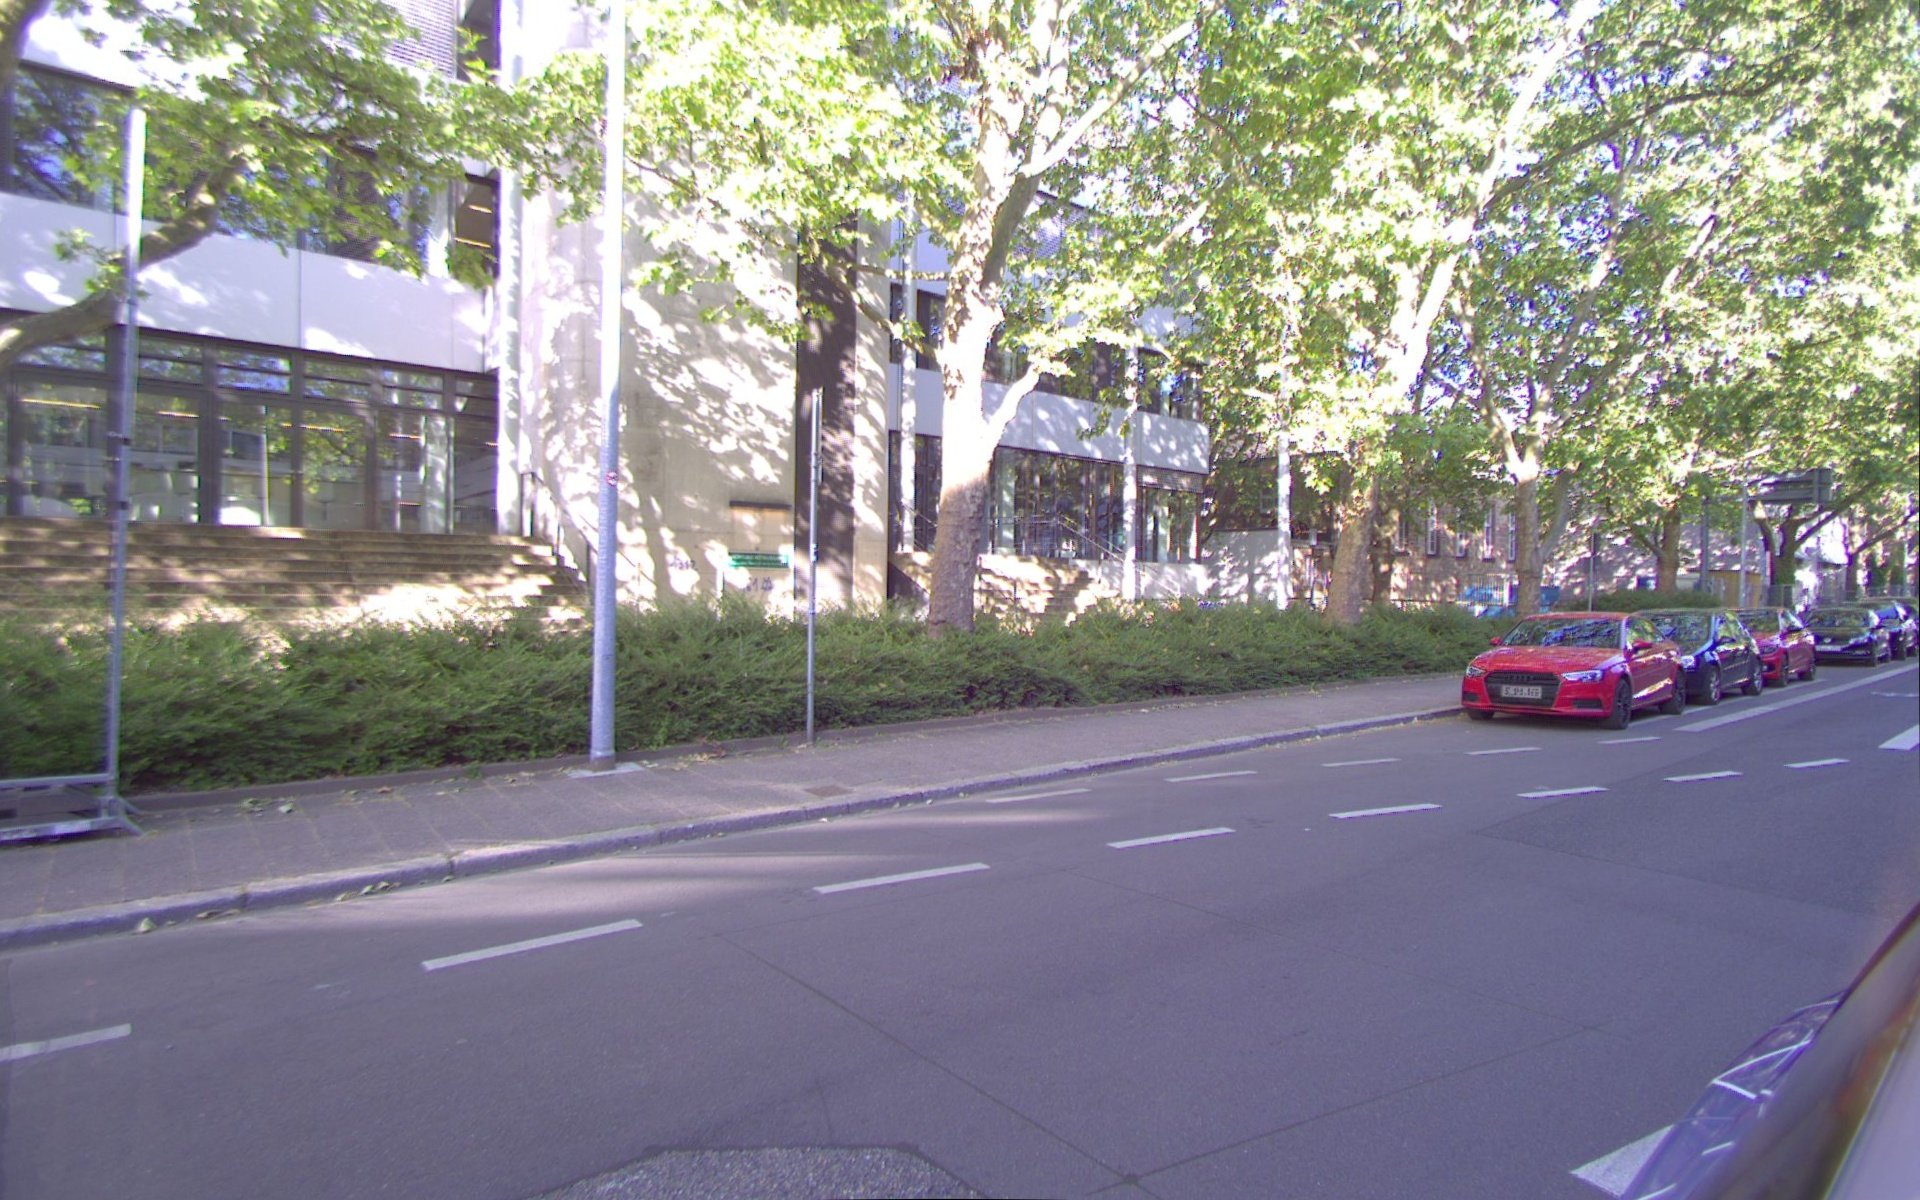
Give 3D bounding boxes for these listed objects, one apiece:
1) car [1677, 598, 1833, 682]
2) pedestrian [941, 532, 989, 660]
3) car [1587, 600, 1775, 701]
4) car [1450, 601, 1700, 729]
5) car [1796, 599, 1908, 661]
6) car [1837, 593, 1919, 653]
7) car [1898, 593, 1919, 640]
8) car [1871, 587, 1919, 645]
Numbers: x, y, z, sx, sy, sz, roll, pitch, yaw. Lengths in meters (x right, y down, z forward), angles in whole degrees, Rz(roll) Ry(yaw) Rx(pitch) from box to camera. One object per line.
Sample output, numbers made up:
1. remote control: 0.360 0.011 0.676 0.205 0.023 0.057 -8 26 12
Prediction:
1. car: 15.735 0.710 19.978 3.854 1.467 1.691 -1 0 -40
2. pedestrian: 0.086 -0.065 16.485 0.549 2.039 0.555 0 0 38
3. car: 11.847 0.732 16.551 3.632 1.436 1.668 -1 0 -40
4. car: 8.293 0.739 13.521 3.931 1.409 1.792 -1 1 -42
5. car: 22.940 0.713 25.993 3.855 1.441 1.691 -1 0 -41
6. car: 26.626 0.605 29.050 4.158 1.598 1.632 -1 0 -41
7. car: 35.527 0.573 36.790 4.497 1.633 1.632 -1 0 -41
8. car: 31.164 0.474 33.019 4.497 1.814 1.632 -1 0 -41
